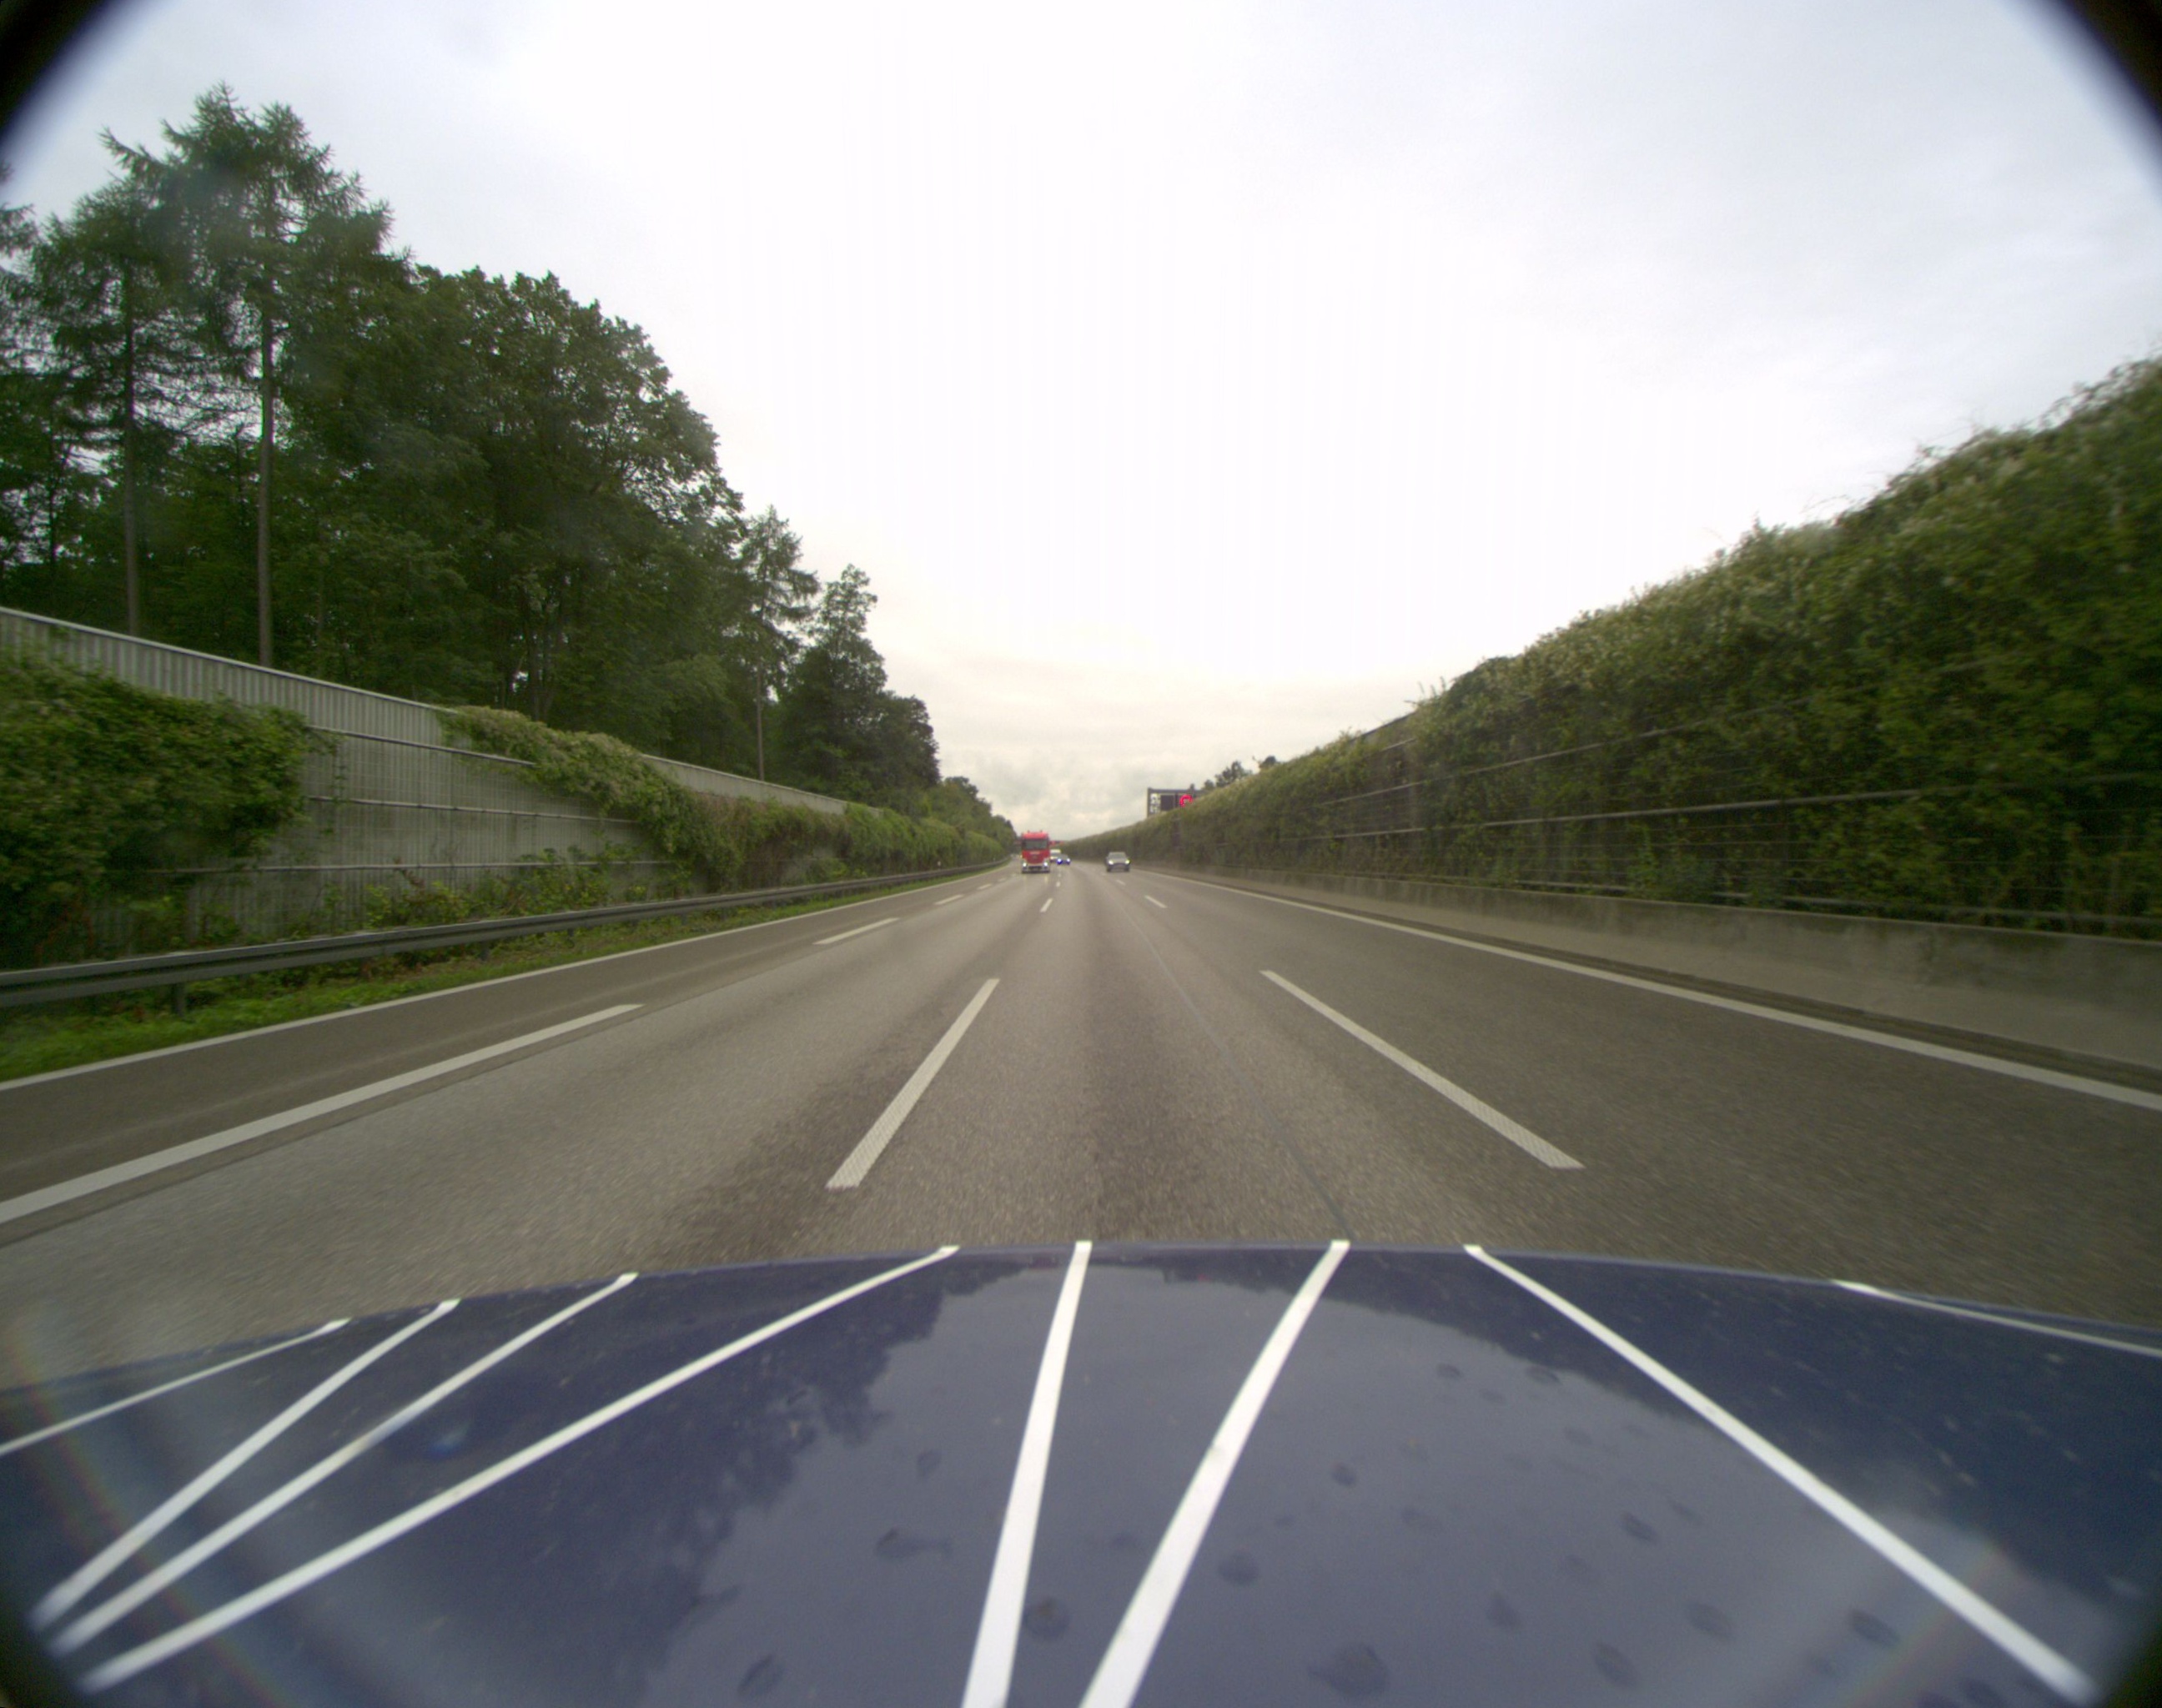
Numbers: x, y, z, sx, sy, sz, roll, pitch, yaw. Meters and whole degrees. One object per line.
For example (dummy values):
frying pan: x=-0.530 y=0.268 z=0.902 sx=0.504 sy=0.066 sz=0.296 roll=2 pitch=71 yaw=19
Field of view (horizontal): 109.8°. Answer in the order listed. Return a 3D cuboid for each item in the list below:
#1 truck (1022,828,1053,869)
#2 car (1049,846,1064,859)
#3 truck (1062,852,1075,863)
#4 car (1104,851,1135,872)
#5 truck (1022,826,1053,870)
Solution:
truck: x=-4.109 y=-0.658 z=73.207 sx=2.709 sy=3.691 sz=9.836 roll=-1 pitch=2 yaw=-2
car: x=-4.528 y=-0.256 z=141.255 sx=2.769 sy=2.227 sz=6.544 roll=-1 pitch=1 yaw=-2
truck: x=-1.926 y=0.472 z=117.273 sx=1.826 sy=1.535 sz=3.997 roll=-1 pitch=2 yaw=-4
car: x=3.334 y=0.586 z=66.262 sx=2.023 sy=1.595 sz=5.436 roll=-3 pitch=1 yaw=-4
truck: x=-3.903 y=-0.582 z=68.824 sx=2.709 sy=3.809 sz=4.196 roll=-1 pitch=2 yaw=-2
